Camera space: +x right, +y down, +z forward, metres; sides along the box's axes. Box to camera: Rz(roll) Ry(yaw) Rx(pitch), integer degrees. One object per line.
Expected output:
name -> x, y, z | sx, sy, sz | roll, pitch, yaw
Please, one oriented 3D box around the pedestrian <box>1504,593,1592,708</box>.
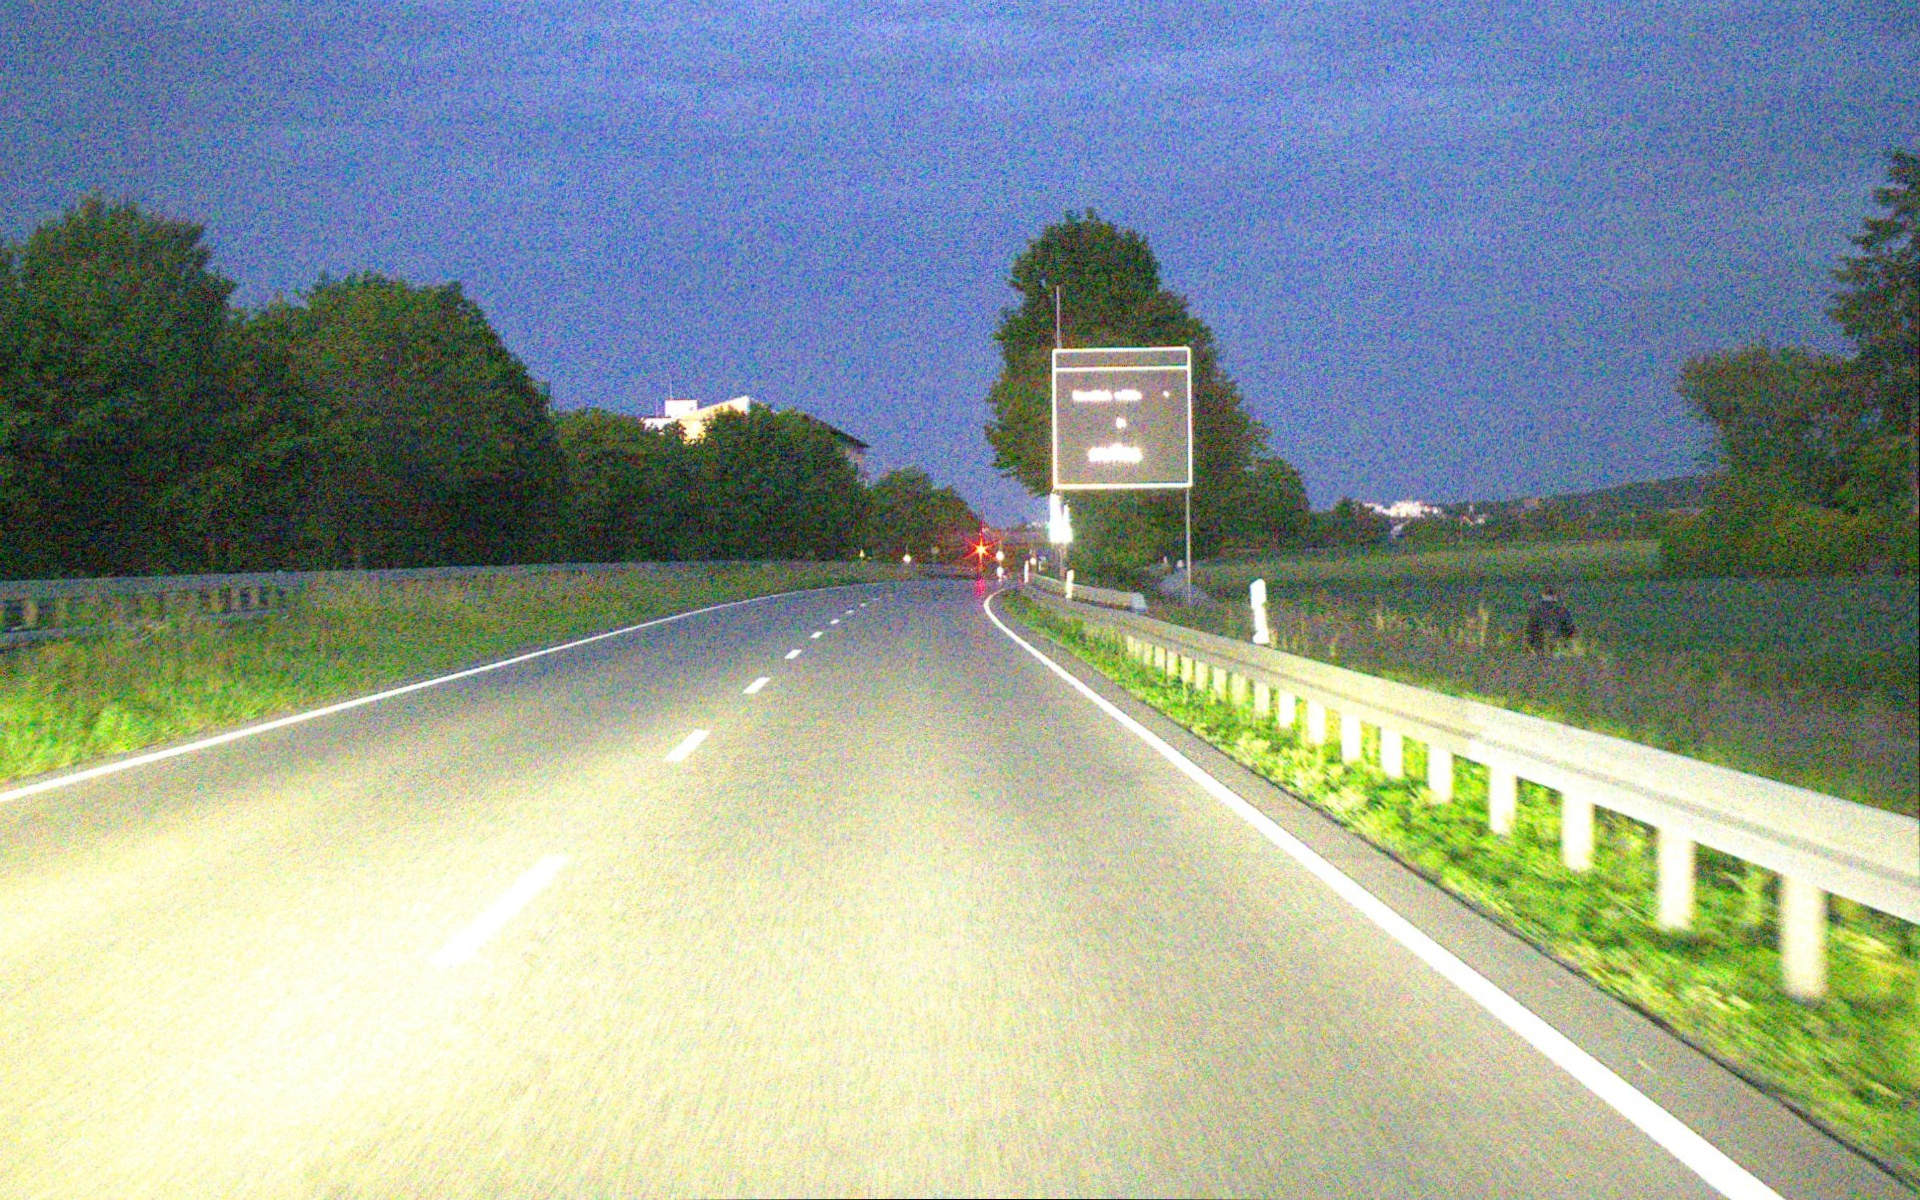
pedestrian -> 8.636, 0.732, 50.515 | 1.062, 1.637, 1.118 | 1, 1, 0
